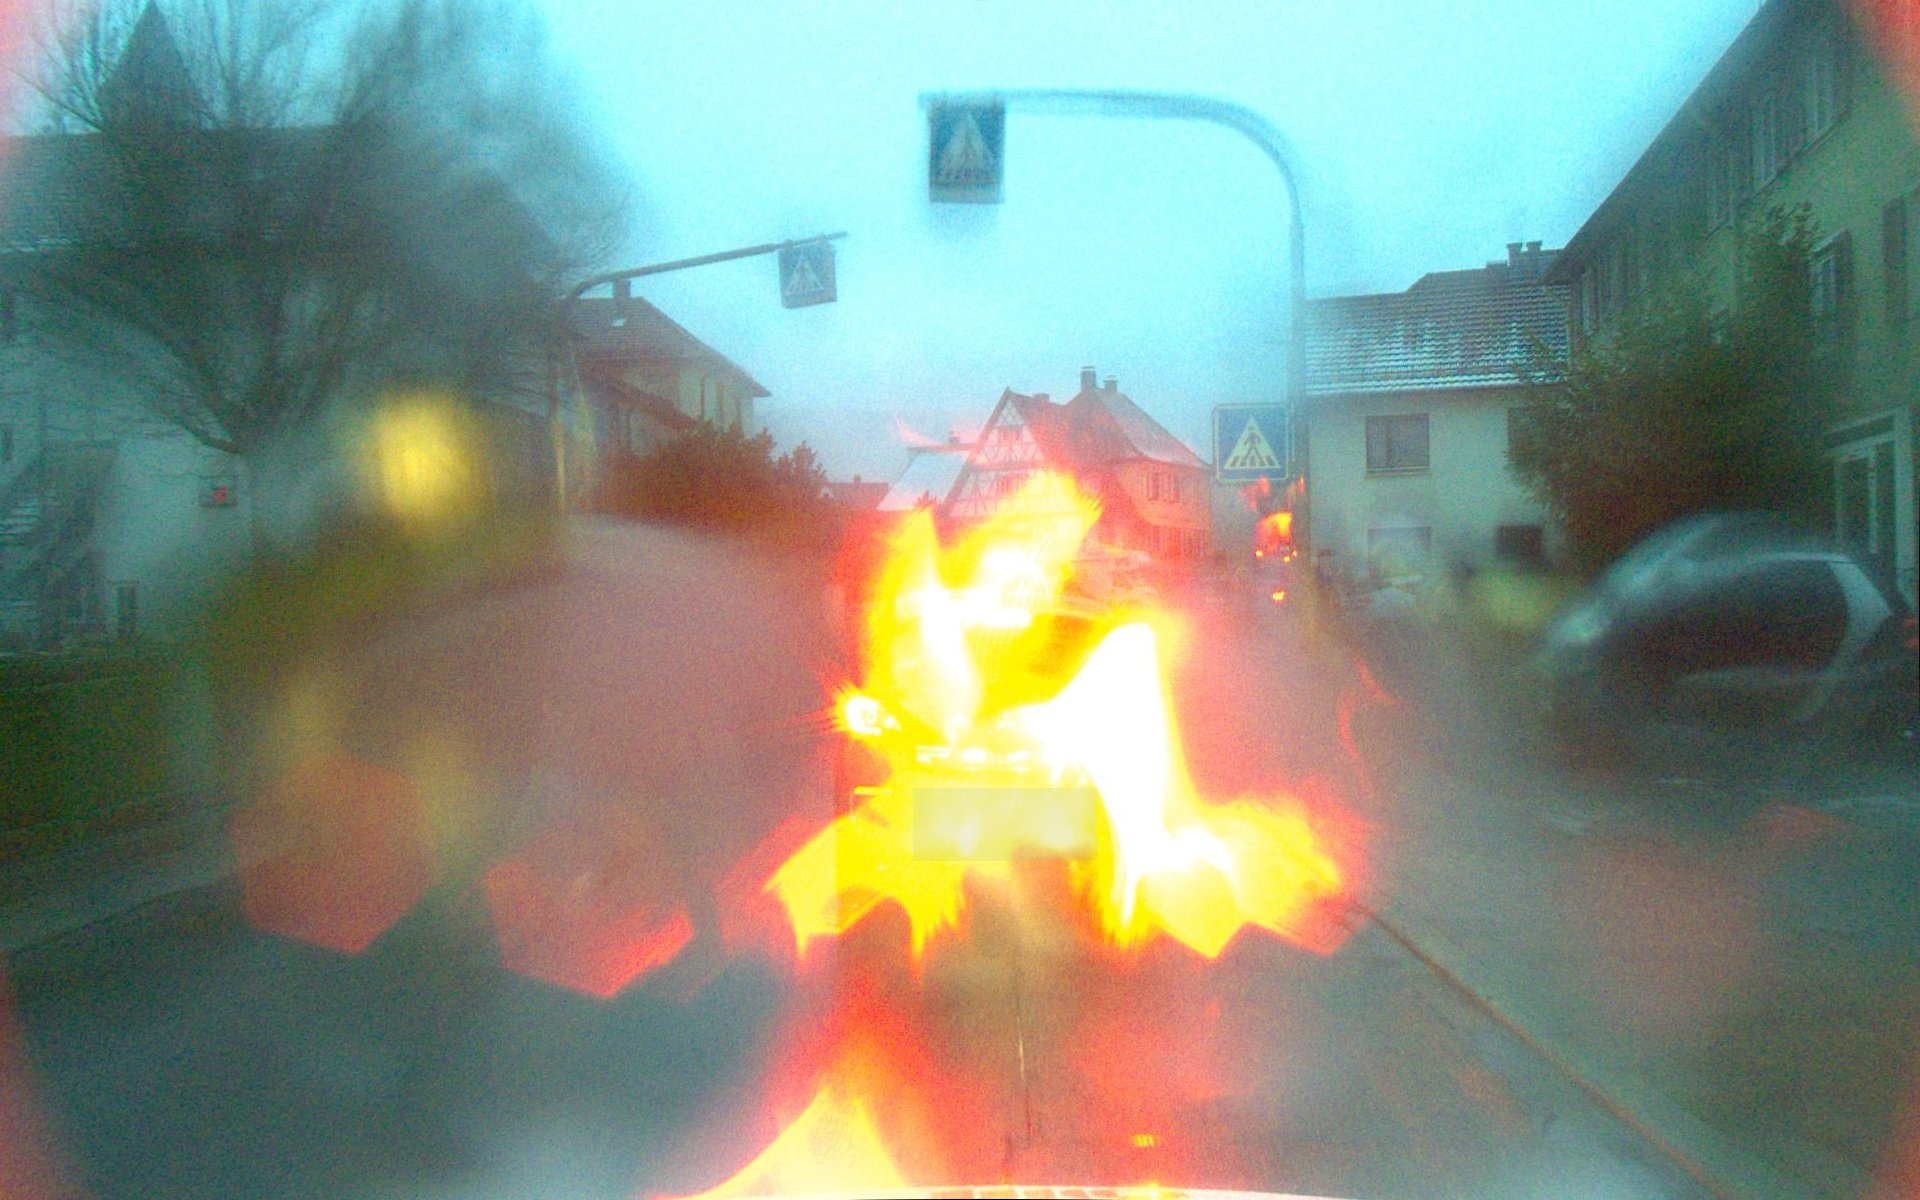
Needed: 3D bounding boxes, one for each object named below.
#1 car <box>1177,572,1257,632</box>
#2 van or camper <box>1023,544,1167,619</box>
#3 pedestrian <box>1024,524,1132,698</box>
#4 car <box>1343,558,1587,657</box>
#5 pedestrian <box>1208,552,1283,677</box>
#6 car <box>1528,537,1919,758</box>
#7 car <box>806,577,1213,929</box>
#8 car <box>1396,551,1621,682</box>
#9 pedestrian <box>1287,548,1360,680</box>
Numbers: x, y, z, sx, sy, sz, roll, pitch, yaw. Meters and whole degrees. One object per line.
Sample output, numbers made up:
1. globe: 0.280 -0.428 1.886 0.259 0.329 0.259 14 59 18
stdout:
1. car: 7.495 0.031 47.943 1.808 1.665 4.339 0 0 15
2. van or camper: 6.135 -0.822 75.453 5.939 3.006 2.405 -4 -1 24
3. pedestrian: 1.270 0.112 17.670 0.861 1.765 0.956 -4 0 16
4. car: 8.630 0.122 28.577 3.816 1.499 1.752 -2 0 11
5. pedestrian: 4.064 0.195 23.466 0.849 1.695 0.993 -4 0 16
6. car: 5.893 0.342 12.593 2.704 1.499 1.428 -2 0 8
7. car: 0.074 0.629 9.117 1.760 1.502 3.997 0 1 -4
8. car: 7.199 0.201 21.892 2.528 1.574 1.553 -2 1 8
9. pedestrian: 5.114 0.191 23.219 0.830 1.763 0.972 -4 0 16
